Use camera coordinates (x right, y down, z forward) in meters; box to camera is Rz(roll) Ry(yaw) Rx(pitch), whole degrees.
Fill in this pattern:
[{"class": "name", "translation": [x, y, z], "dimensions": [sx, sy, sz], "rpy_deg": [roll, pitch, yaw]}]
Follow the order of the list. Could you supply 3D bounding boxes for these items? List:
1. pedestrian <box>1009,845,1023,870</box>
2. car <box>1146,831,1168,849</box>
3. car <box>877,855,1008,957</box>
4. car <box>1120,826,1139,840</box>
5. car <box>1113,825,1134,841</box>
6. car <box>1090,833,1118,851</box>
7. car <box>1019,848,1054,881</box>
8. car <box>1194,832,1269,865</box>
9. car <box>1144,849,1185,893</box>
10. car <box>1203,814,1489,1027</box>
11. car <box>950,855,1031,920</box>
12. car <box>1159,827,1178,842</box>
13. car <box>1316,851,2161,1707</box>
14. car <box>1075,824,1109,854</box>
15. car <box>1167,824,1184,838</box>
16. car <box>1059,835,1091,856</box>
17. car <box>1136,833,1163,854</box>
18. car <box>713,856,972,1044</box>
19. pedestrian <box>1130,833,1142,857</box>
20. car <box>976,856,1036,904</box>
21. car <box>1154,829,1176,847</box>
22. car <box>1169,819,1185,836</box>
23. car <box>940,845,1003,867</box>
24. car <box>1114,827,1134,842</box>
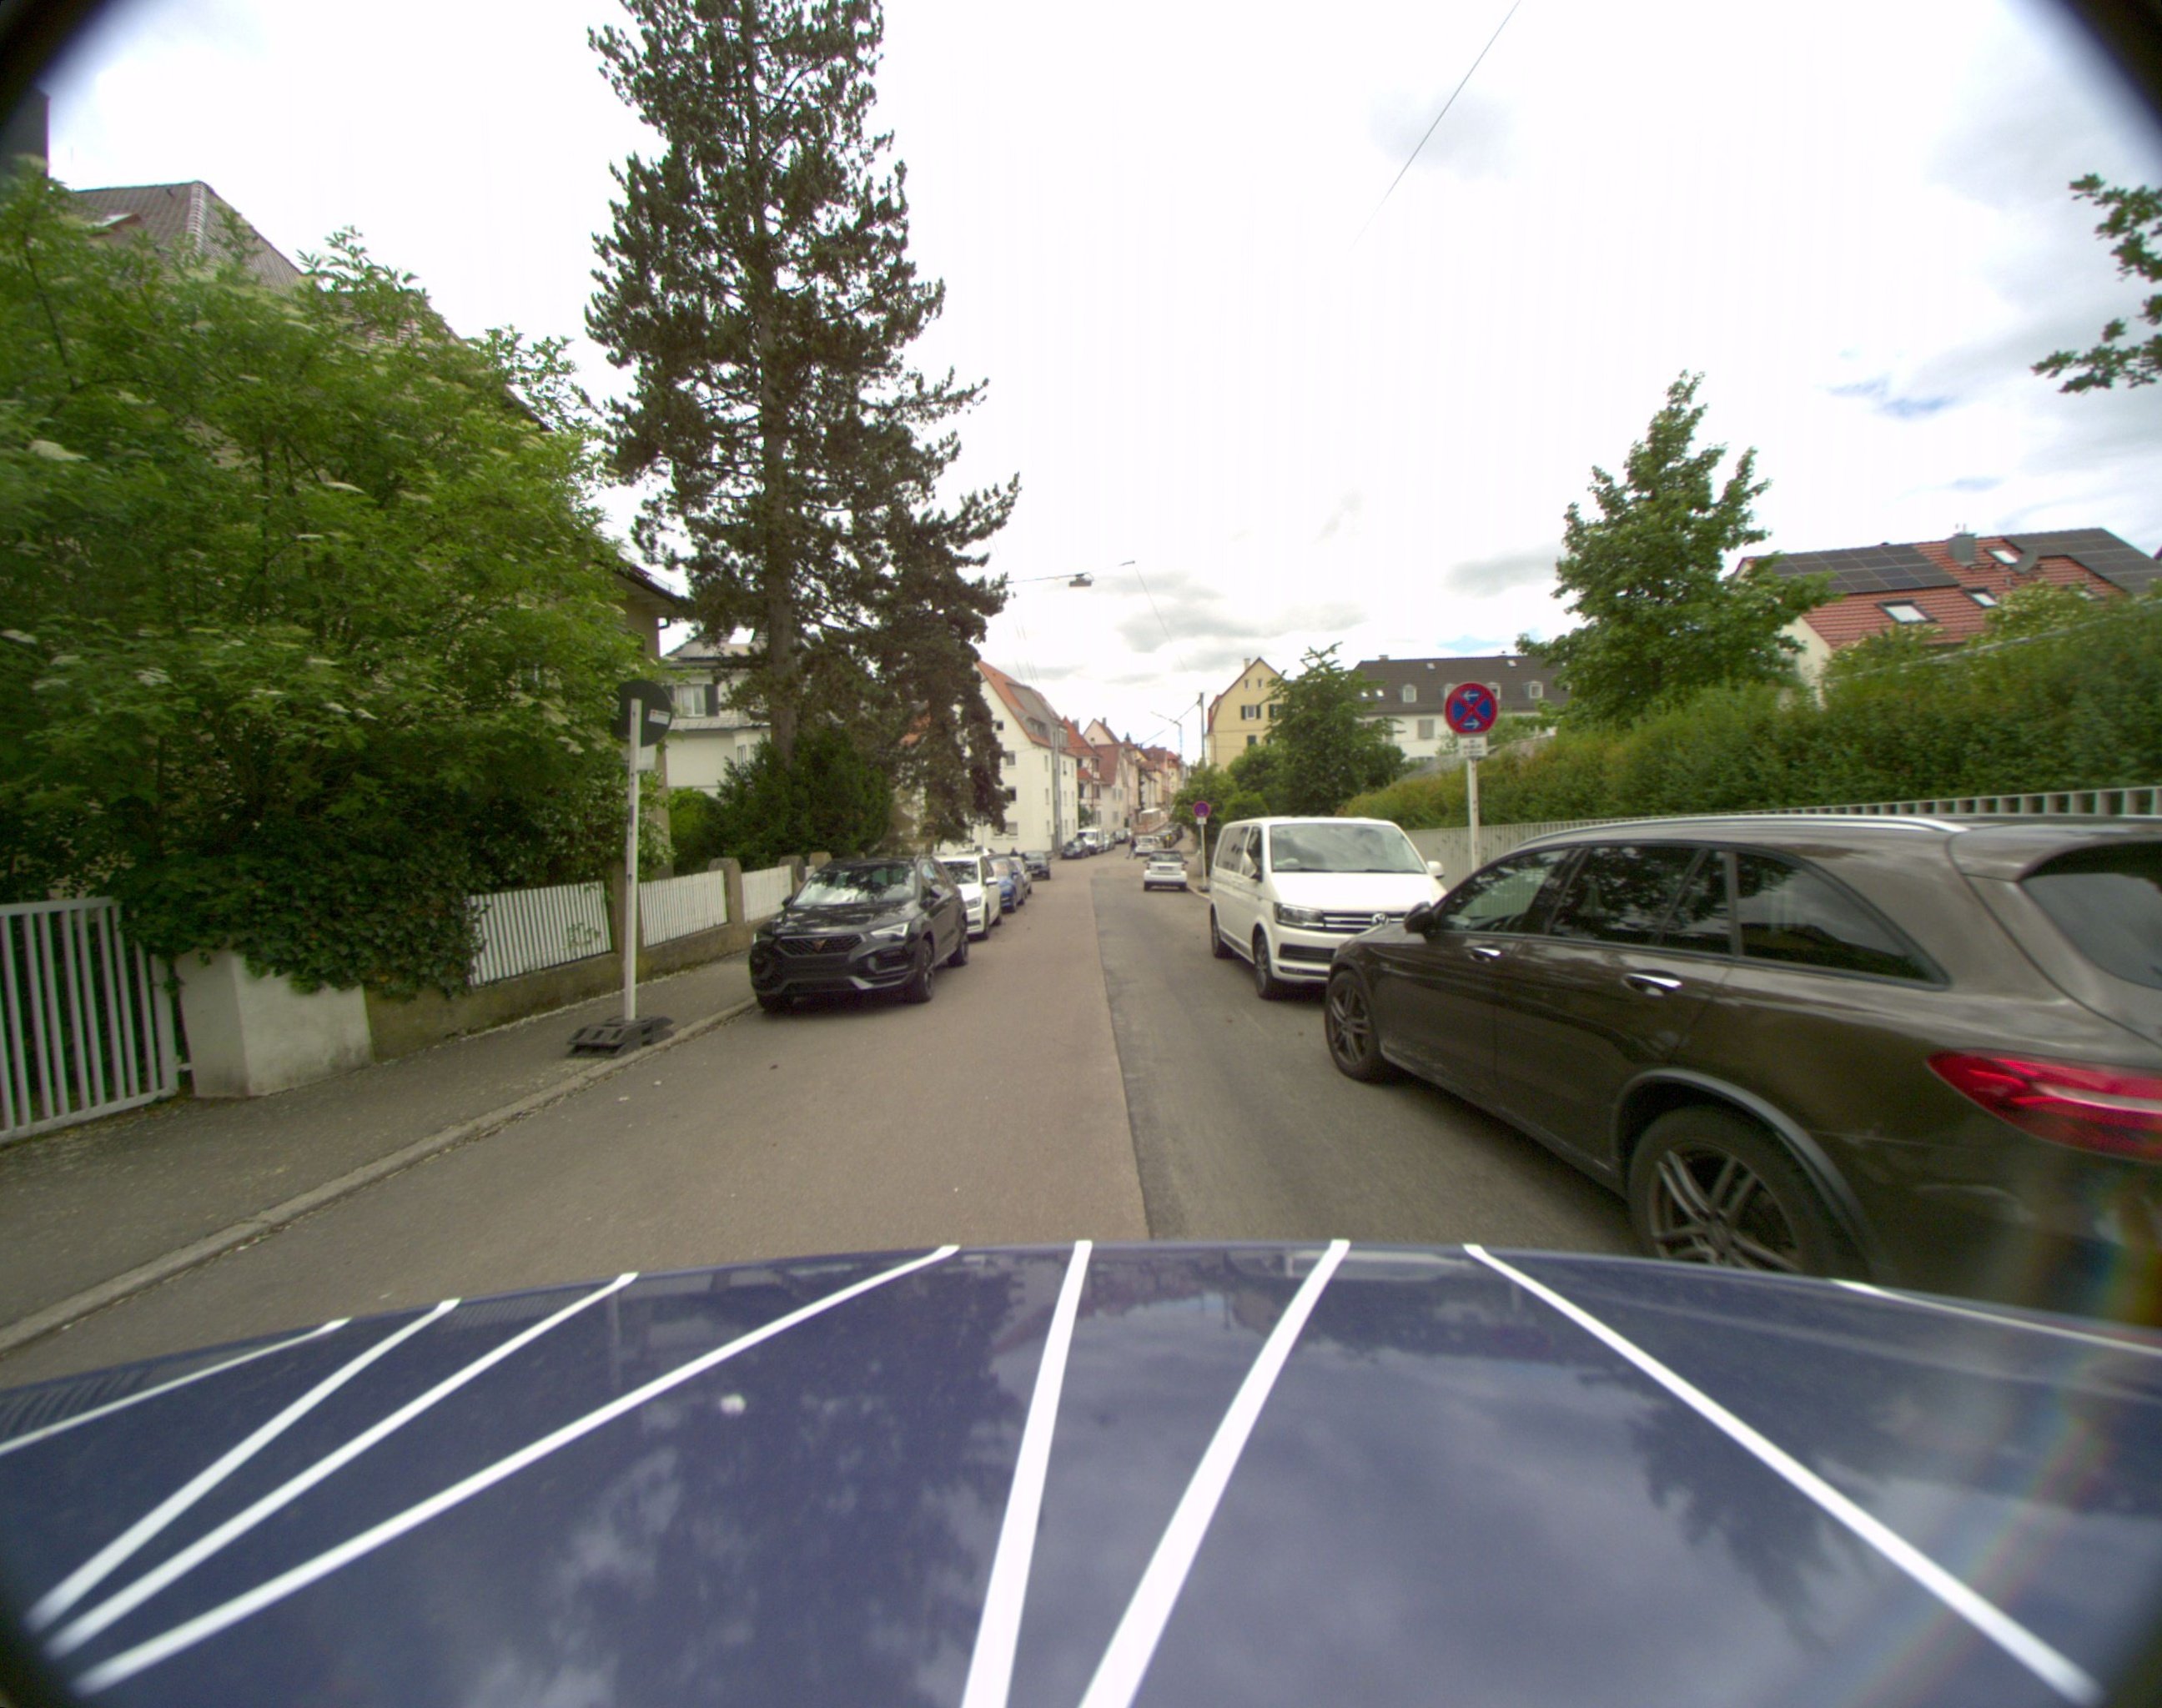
[{"class": "pedestrian", "translation": [-4.163, 0.207, 48.568], "dimensions": [0.682, 1.568, 0.906], "rpy_deg": [1, 3, 7]}, {"class": "car", "translation": [6.940, -1.282, 69.100], "dimensions": [1.609, 1.446, 3.614], "rpy_deg": [1, 4, 11]}, {"class": "car", "translation": [-2.606, 0.899, 15.336], "dimensions": [1.789, 1.594, 4.303], "rpy_deg": [-4, 1, -1]}, {"class": "car", "translation": [5.802, -2.554, 90.682], "dimensions": [1.628, 1.386, 4.236], "rpy_deg": [-2, 4, 11]}, {"class": "car", "translation": [4.802, -2.363, 85.718], "dimensions": [1.779, 1.711, 4.001], "rpy_deg": [-2, 3, 10]}, {"class": "car", "translation": [2.313, -1.234, 74.753], "dimensions": [1.827, 1.437, 4.384], "rpy_deg": [-2, 4, 13]}, {"class": "car", "translation": [-2.271, 0.511, 39.291], "dimensions": [1.576, 1.523, 2.866], "rpy_deg": [-4, 1, -2]}, {"class": "car", "translation": [9.327, -0.351, 46.924], "dimensions": [4.521, 1.646, 1.830], "rpy_deg": [-6, 3, -35]}, {"class": "car", "translation": [3.196, 0.613, 28.883], "dimensions": [1.445, 1.543, 2.771], "rpy_deg": [2, 1, 7]}, {"class": "car", "translation": [2.755, 0.559, 9.167], "dimensions": [1.859, 1.902, 4.618], "rpy_deg": [1, 1, 1]}, {"class": "car", "translation": [-2.451, 0.862, 21.431], "dimensions": [1.651, 1.450, 4.051], "rpy_deg": [-3, 2, 1]}, {"class": "car", "translation": [9.561, -2.134, 82.915], "dimensions": [1.641, 1.421, 4.123], "rpy_deg": [0, 5, 11]}, {"class": "car", "translation": [2.655, 0.813, 3.332], "dimensions": [1.795, 1.614, 4.342], "rpy_deg": [-1, 1, -2]}, {"class": "car", "translation": [1.084, -1.404, 69.243], "dimensions": [1.996, 2.410, 5.294], "rpy_deg": [-1, 4, 13]}, {"class": "car", "translation": [10.878, -2.655, 87.134], "dimensions": [1.641, 1.392, 3.703], "rpy_deg": [-1, 5, 11]}, {"class": "car", "translation": [-0.432, -0.714, 62.500], "dimensions": [1.821, 1.478, 4.287], "rpy_deg": [-1, 3, 10]}, {"class": "car", "translation": [5.804, -0.921, 64.117], "dimensions": [1.807, 1.650, 4.153], "rpy_deg": [0, 3, 11]}, {"class": "car", "translation": [-2.579, 0.932, 9.334], "dimensions": [1.754, 1.599, 4.074], "rpy_deg": [-4, 1, 0]}, {"class": "pedestrian", "translation": [4.166, -0.681, 57.707], "dimensions": [0.822, 1.750, 0.644], "rpy_deg": [-4, 3, 2]}, {"class": "car", "translation": [-2.525, 0.845, 26.234], "dimensions": [1.577, 1.392, 3.655], "rpy_deg": [-3, 1, 1]}, {"class": "car", "translation": [8.582, -1.658, 77.359], "dimensions": [1.805, 1.473, 4.329], "rpy_deg": [-1, 4, 12]}, {"class": "car", "translation": [11.678, -3.245, 92.186], "dimensions": [1.752, 1.788, 4.148], "rpy_deg": [0, 5, 9]}, {"class": "car", "translation": [-8.332, 0.185, 58.047], "dimensions": [4.352, 1.442, 1.765], "rpy_deg": [-2, 2, 13]}, {"class": "car", "translation": [4.915, -2.214, 85.844], "dimensions": [1.607, 1.482, 4.023], "rpy_deg": [-2, 4, 12]}]
